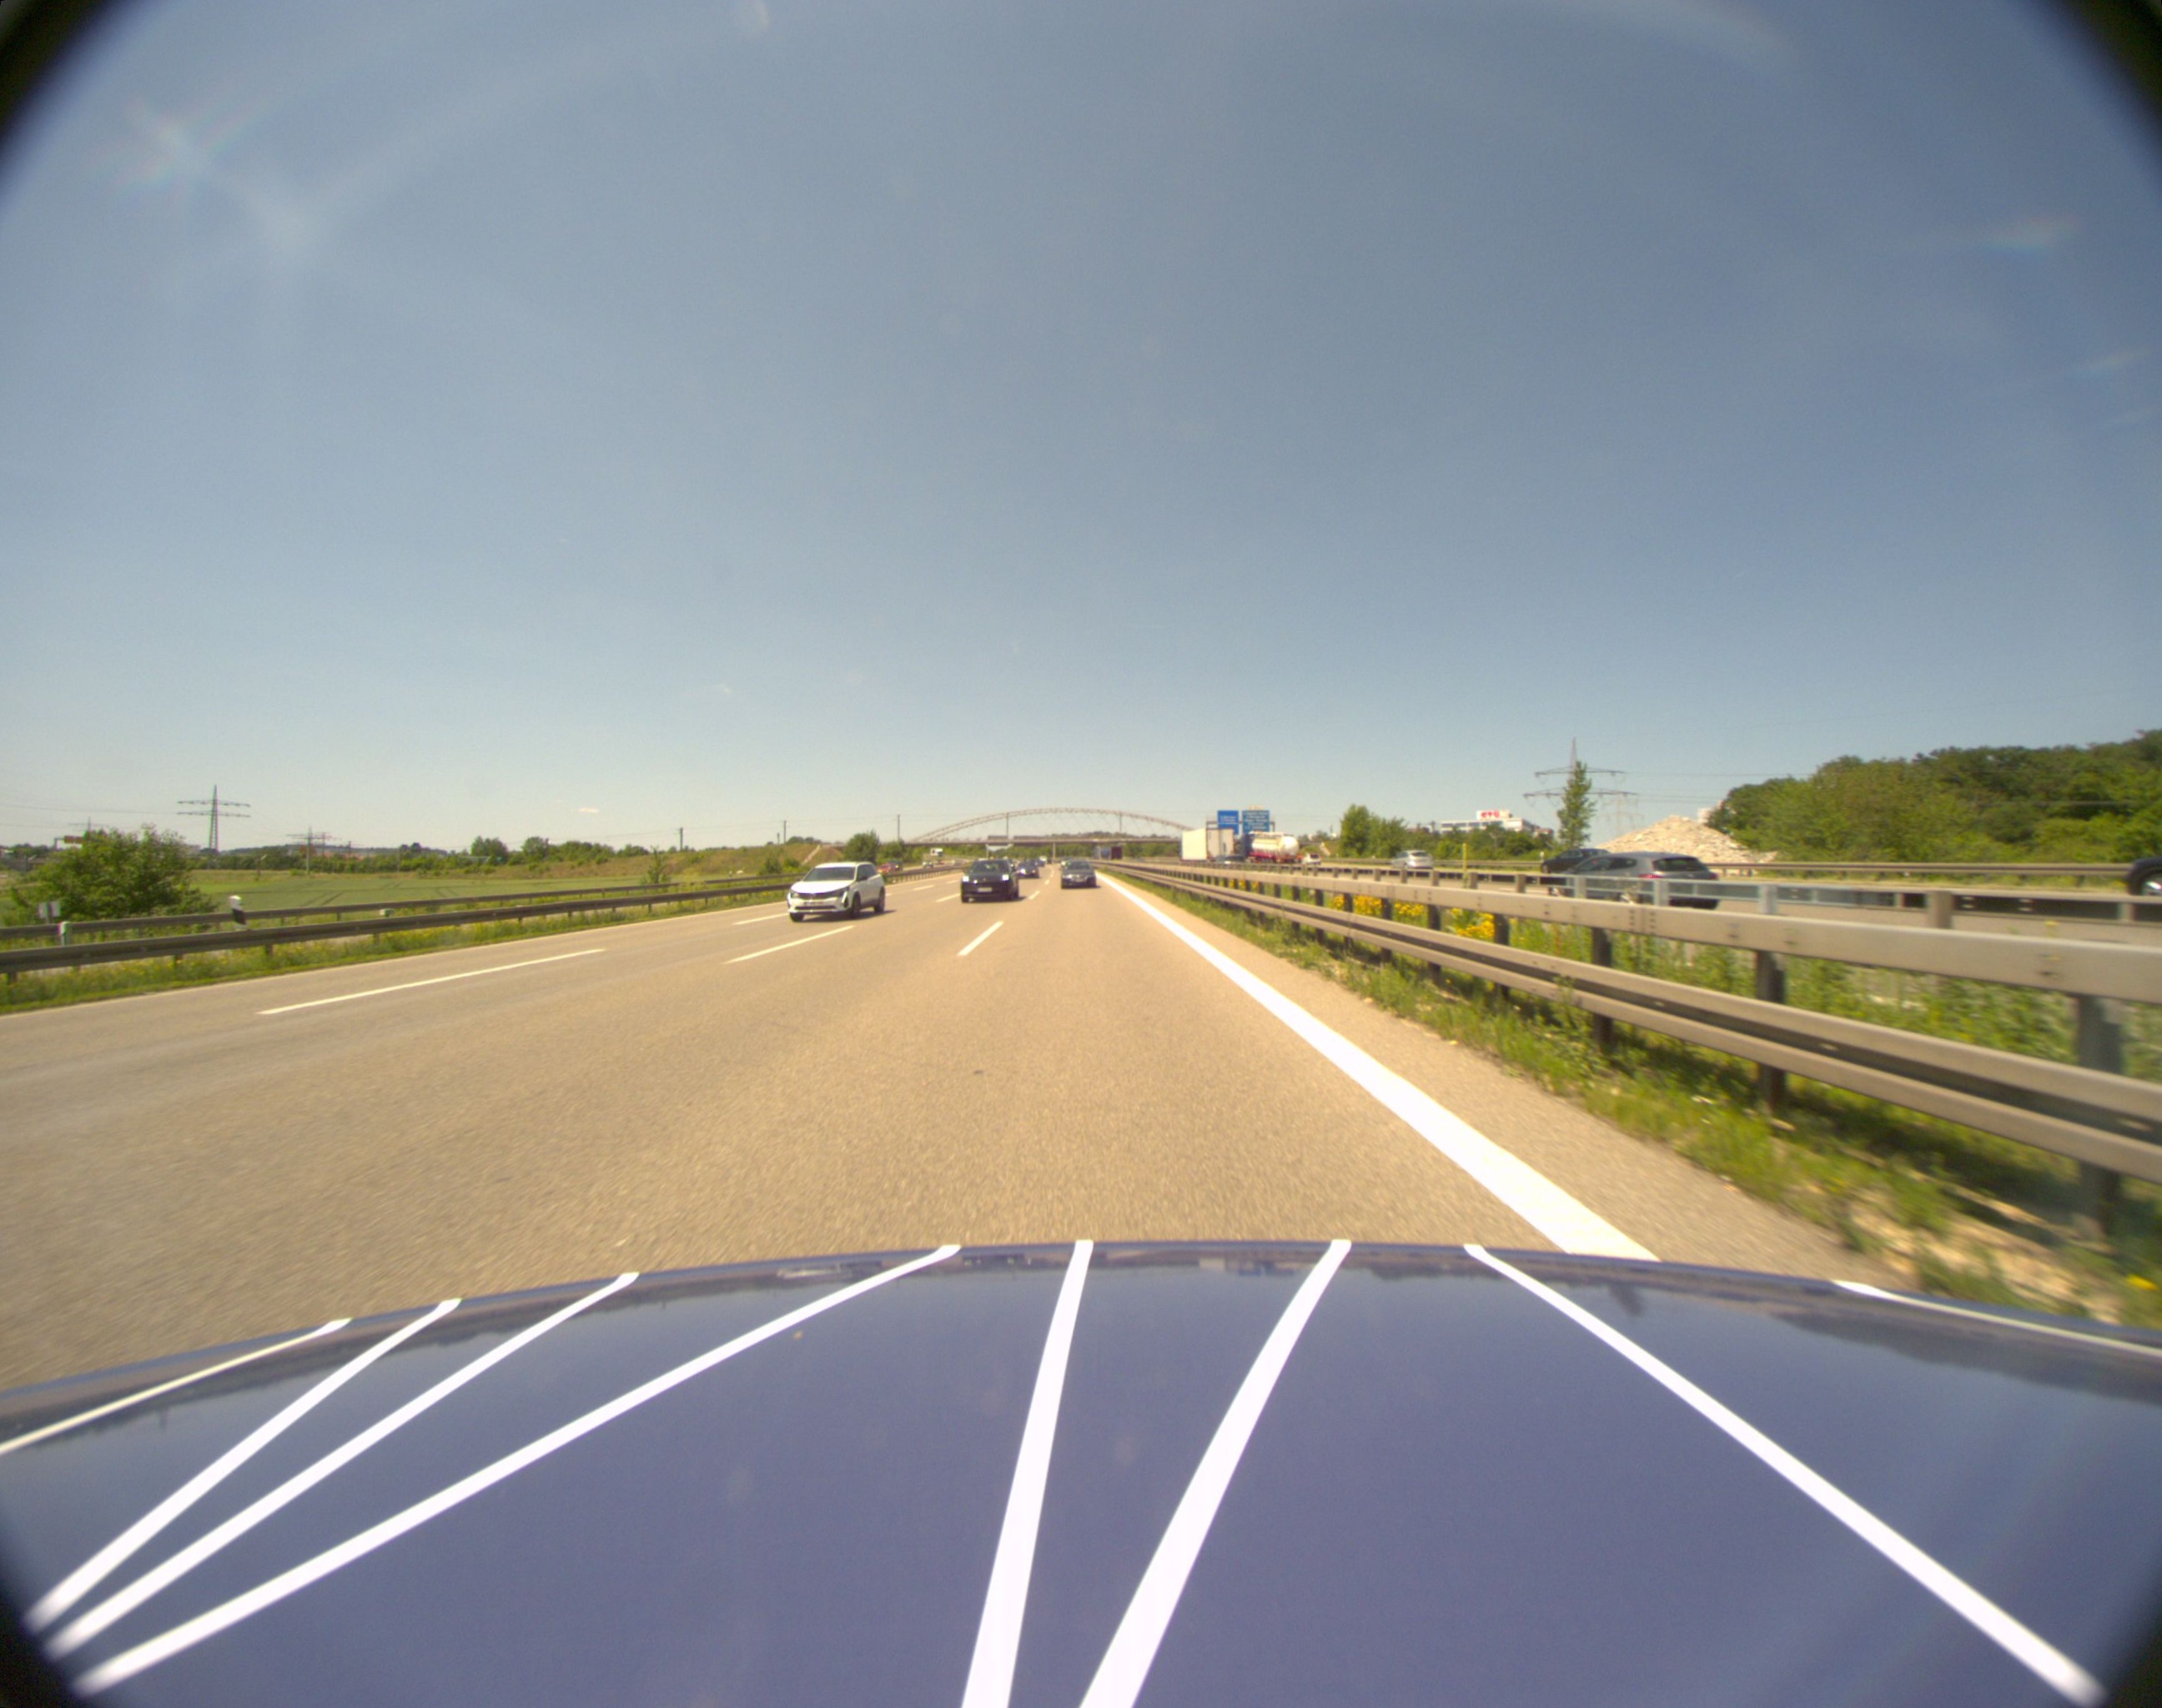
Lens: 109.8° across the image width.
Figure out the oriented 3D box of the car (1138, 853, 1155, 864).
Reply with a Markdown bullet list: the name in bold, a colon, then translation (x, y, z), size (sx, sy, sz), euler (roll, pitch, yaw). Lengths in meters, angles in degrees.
- **car**: translation (8.836, 0.590, 102.560), size (1.809, 1.382, 4.290), euler (-2, 0, -1)

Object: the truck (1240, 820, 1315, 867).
- **truck**: translation (17.507, -0.862, 68.940), size (3.227, 3.763, 12.899), euler (-2, 0, -1)

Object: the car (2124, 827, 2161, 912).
- **car**: translation (21.264, 0.265, 12.803), size (1.883, 1.604, 4.000), euler (-2, 0, 0)

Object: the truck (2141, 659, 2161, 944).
- **truck**: translation (16.895, -0.791, 7.874), size (2.888, 4.093, 6.384), euler (-2, 0, 1)

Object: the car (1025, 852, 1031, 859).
- **car**: translation (-17.656, 0.518, 253.406), size (1.999, 2.002, 3.999), euler (-2, 1, -1)

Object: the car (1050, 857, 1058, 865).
- **car**: translation (-6.729, 1.677, 187.757), size (1.999, 1.849, 3.999), euler (-2, 1, -2)

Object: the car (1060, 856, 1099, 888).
- **car**: translation (-0.048, 0.903, 39.859), size (1.931, 1.499, 4.391), euler (-2, 0, 1)

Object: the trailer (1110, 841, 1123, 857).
- **trailer**: translation (9.383, -1.387, 201.865), size (2.567, 4.081, 8.711), euler (-2, 1, -4)

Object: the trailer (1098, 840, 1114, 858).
- **trailer**: translation (6.206, -1.314, 193.543), size (2.953, 4.317, 14.615), euler (-2, 0, -2)

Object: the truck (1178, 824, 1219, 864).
- **truck**: translation (12.689, -1.092, 82.700), size (2.974, 4.096, 7.596), euler (-2, 1, -1)

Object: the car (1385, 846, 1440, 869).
- **car**: translation (22.767, 0.253, 52.330), size (1.755, 1.437, 4.440), euler (-2, 0, -1)

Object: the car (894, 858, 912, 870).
- **car**: translation (-26.703, 1.476, 113.860), size (1.704, 1.566, 4.127), euler (-2, 1, 0)

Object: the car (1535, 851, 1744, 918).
- **car**: translation (13.058, 0.631, 18.176), size (1.710, 1.352, 4.497), euler (-2, 0, 1)

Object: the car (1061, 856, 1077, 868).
- **car**: translation (-1.603, 1.054, 100.247), size (1.932, 1.390, 4.116), euler (-2, 0, -2)

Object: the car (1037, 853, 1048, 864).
- **car**: translation (-6.757, 0.741, 133.480), size (1.925, 1.761, 3.998), euler (-2, 1, -4)

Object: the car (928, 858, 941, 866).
- **car**: translation (-30.050, 1.658, 156.097), size (1.704, 1.566, 4.128), euler (-2, 1, 1)

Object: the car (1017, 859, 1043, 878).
- **car**: translation (-4.080, 1.184, 61.794), size (1.932, 1.390, 4.116), euler (-2, 0, -2)

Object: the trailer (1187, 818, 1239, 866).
- **trailer**: translation (12.813, -1.138, 74.809), size (2.963, 4.346, 10.730), euler (-2, 1, -1)

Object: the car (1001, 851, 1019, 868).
- **car**: translation (-8.581, 0.677, 92.650), size (1.808, 1.908, 4.294), euler (-2, 1, -1)

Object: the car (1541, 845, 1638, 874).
- **car**: translation (25.795, 0.248, 38.762), size (1.835, 1.308, 4.663), euler (-2, 0, 0)

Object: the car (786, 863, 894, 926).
- **car**: translation (-7.105, 1.131, 22.905), size (1.748, 1.582, 4.619), euler (-2, 1, 0)

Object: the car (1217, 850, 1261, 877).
- **car**: translation (9.942, 0.569, 48.097), size (1.852, 1.588, 4.409), euler (-2, 0, 1)

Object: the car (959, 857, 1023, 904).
- **car**: translation (-3.409, 0.981, 29.514), size (1.931, 1.586, 4.131), euler (-2, 1, 0)
